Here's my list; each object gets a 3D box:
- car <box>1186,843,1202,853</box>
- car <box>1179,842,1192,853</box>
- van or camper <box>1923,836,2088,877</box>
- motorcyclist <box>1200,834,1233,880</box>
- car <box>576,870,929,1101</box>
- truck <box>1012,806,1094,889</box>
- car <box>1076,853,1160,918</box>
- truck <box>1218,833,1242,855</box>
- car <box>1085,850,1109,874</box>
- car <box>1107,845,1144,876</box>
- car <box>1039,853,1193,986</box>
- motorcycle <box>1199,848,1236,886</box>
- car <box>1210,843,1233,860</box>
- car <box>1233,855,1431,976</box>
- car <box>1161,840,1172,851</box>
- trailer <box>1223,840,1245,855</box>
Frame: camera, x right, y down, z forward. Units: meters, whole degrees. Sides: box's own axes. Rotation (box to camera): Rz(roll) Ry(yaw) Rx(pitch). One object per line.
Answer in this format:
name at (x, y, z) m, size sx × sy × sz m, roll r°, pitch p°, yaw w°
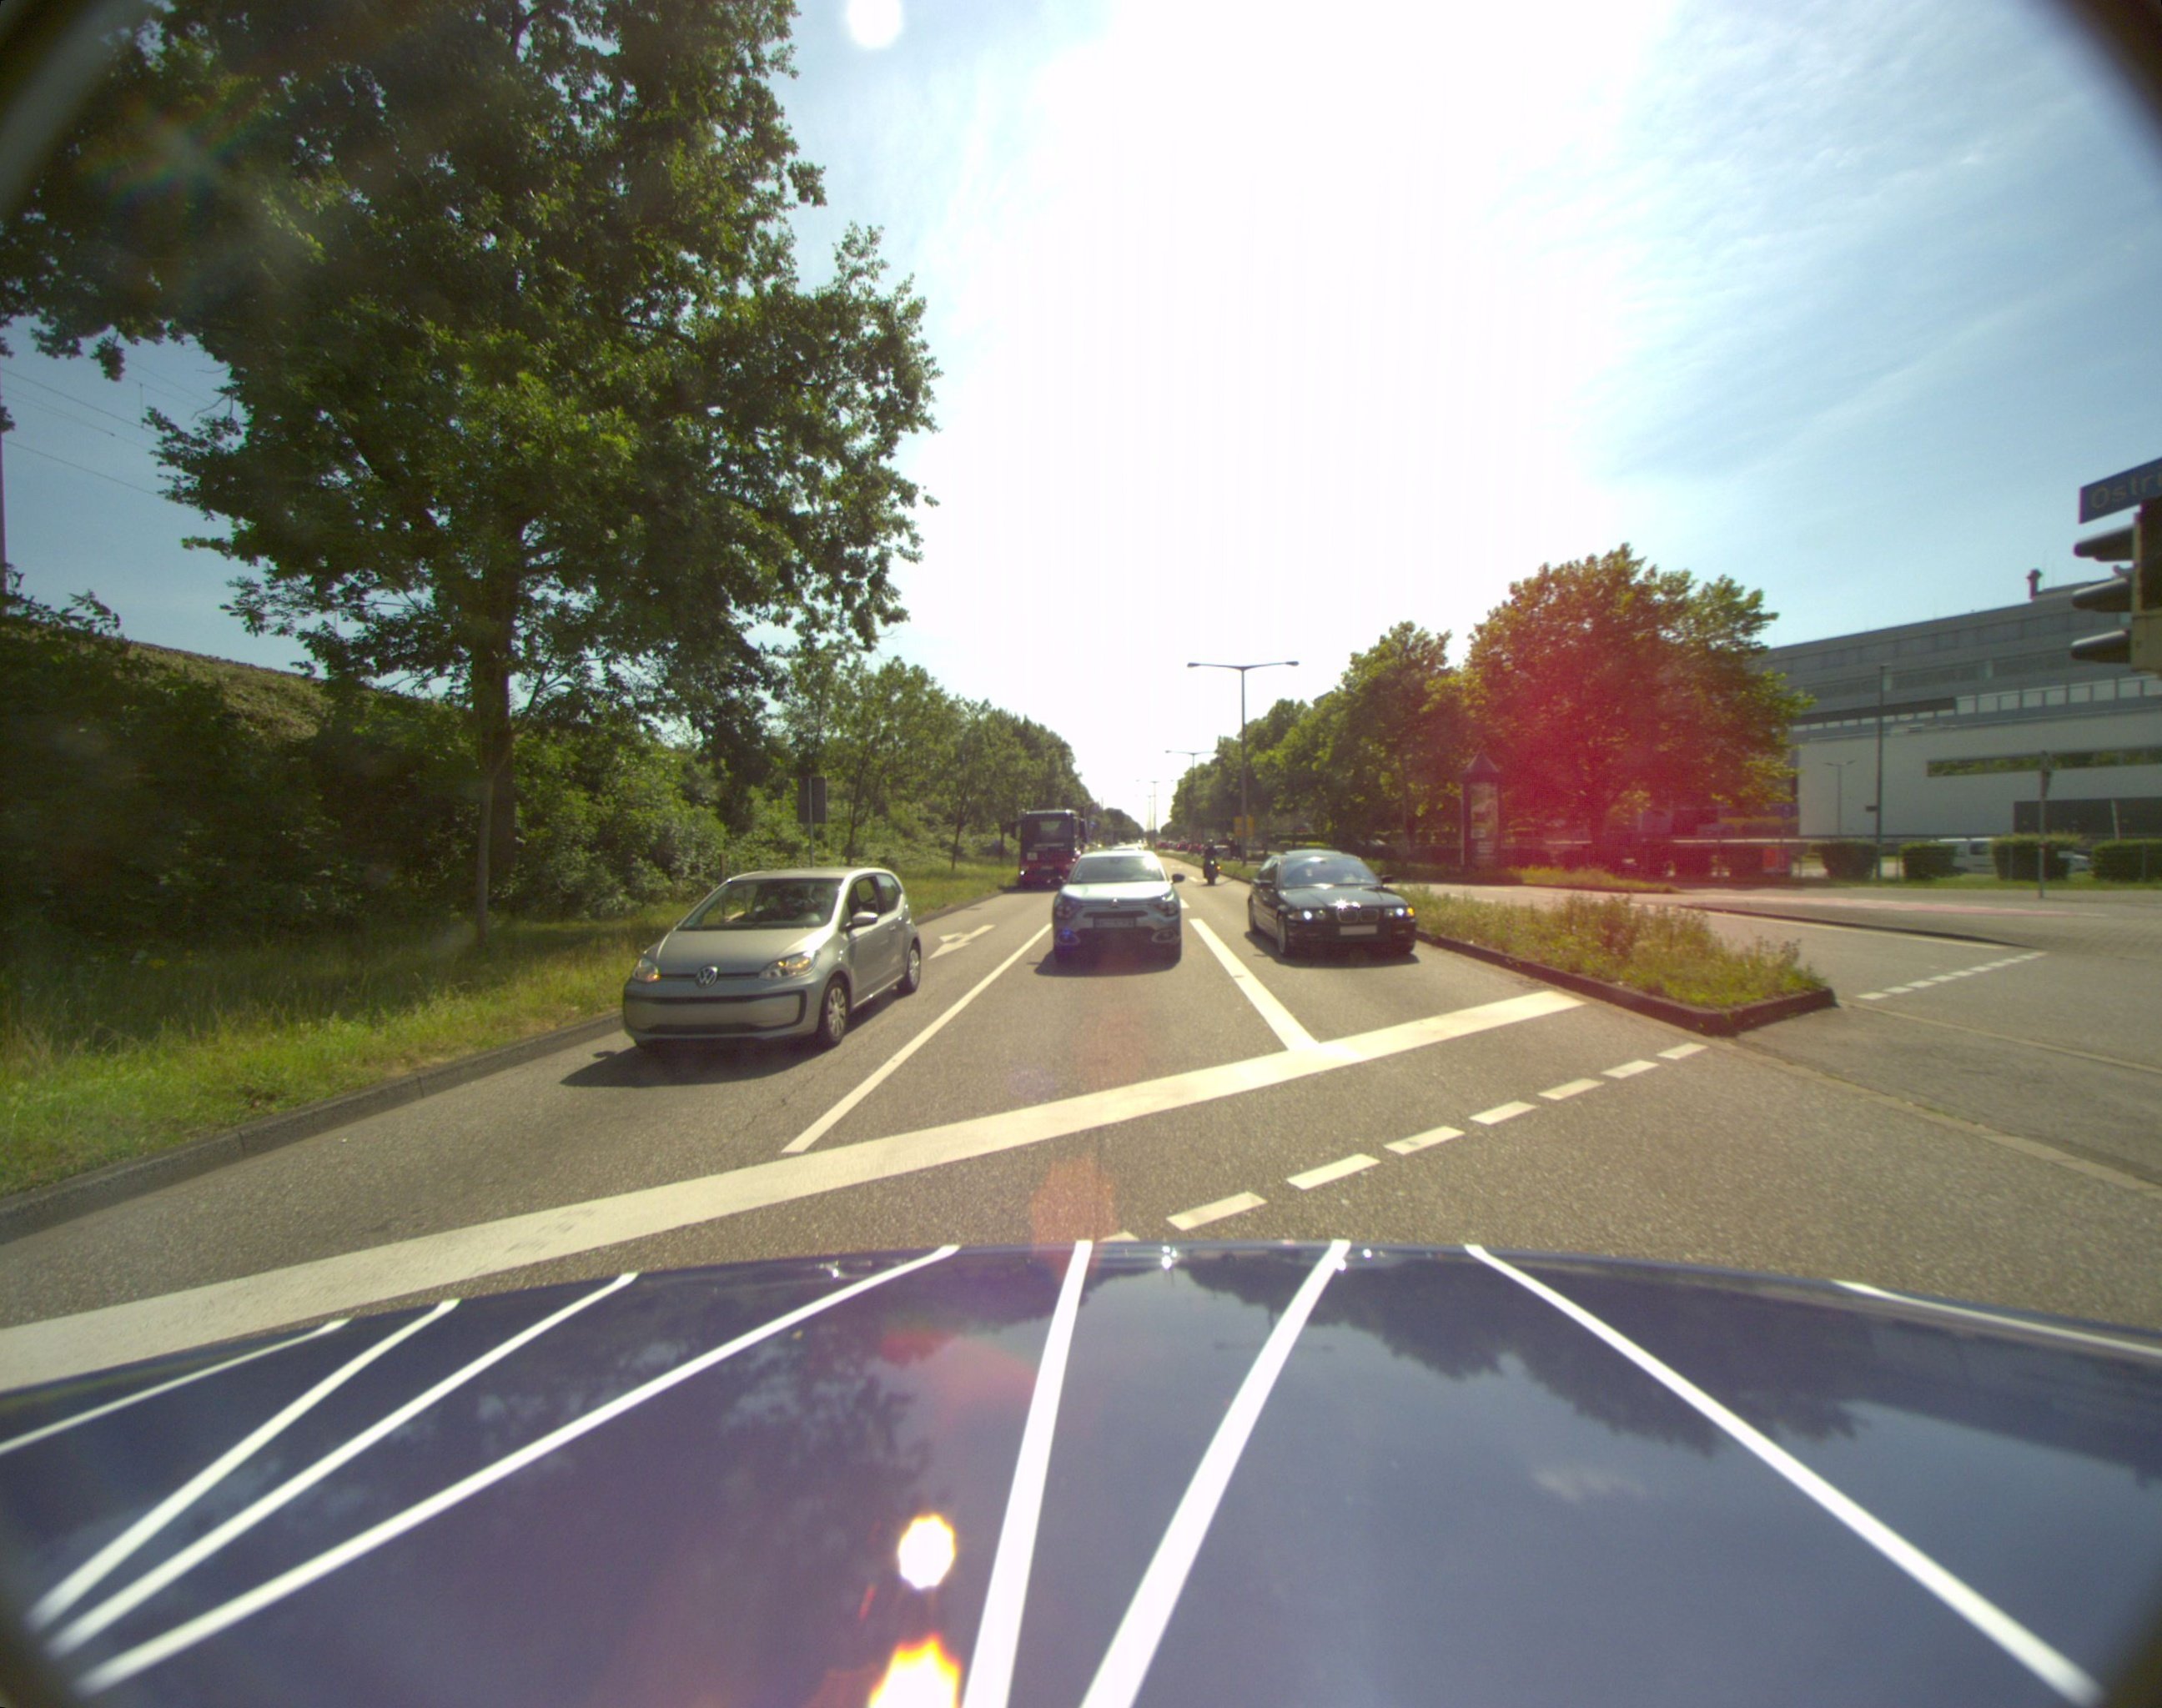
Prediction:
car at (15.706, -0.859, 106.085) m, size 1.852 × 1.426 × 3.767 m, roll -1°, pitch 1°, yaw 3°
car at (18.555, -1.139, 134.951) m, size 1.998 × 2.002 × 4.000 m, roll -1°, pitch 1°, yaw 4°
van or camper at (41.060, 0.069, 33.877) m, size 2.003 × 1.682 × 4.500 m, roll -2°, pitch 1°, yaw -34°
motorcyclist at (5.113, 0.100, 28.701) m, size 1.066 × 1.689 × 1.042 m, roll -1°, pitch 1°, yaw 3°
car at (-2.731, 0.991, 7.315) m, size 1.705 × 1.429 × 3.677 m, roll -4°, pitch 1°, yaw 0°
truck at (-1.044, -0.292, 33.830) m, size 2.775 × 3.248 × 7.483 m, roll -1°, pitch 1°, yaw 4°
car at (1.022, 0.762, 20.485) m, size 1.998 × 1.492 × 4.000 m, roll -1°, pitch 1°, yaw 4°
truck at (17.788, -1.205, 90.878) m, size 2.144 × 2.461 × 7.131 m, roll -1°, pitch 1°, yaw 6°
car at (1.456, 0.651, 67.305) m, size 1.998 × 2.002 × 4.000 m, roll -1°, pitch 1°, yaw 3°
car at (2.403, 0.286, 39.995) m, size 1.825 × 1.521 × 4.548 m, roll -1°, pitch 1°, yaw 5°
car at (0.612, 0.796, 11.506) m, size 1.825 × 1.521 × 4.752 m, roll -1°, pitch 1°, yaw 5°
motorcycle at (5.128, 0.481, 28.713) m, size 1.051 × 1.343 × 2.332 m, roll -1°, pitch 1°, yaw 3°
car at (12.920, -0.261, 70.082) m, size 1.653 × 1.505 × 3.736 m, roll -1°, pitch 1°, yaw 3°
car at (3.476, 0.763, 11.335) m, size 1.730 × 1.354 × 4.067 m, roll -2°, pitch 1°, yaw 2°
car at (16.386, -1.596, 145.743) m, size 1.998 × 2.002 × 4.000 m, roll -1°, pitch 1°, yaw 4°
trailer at (17.143, -0.739, 85.346) m, size 2.066 × 1.706 × 3.992 m, roll -1°, pitch 1°, yaw 6°
